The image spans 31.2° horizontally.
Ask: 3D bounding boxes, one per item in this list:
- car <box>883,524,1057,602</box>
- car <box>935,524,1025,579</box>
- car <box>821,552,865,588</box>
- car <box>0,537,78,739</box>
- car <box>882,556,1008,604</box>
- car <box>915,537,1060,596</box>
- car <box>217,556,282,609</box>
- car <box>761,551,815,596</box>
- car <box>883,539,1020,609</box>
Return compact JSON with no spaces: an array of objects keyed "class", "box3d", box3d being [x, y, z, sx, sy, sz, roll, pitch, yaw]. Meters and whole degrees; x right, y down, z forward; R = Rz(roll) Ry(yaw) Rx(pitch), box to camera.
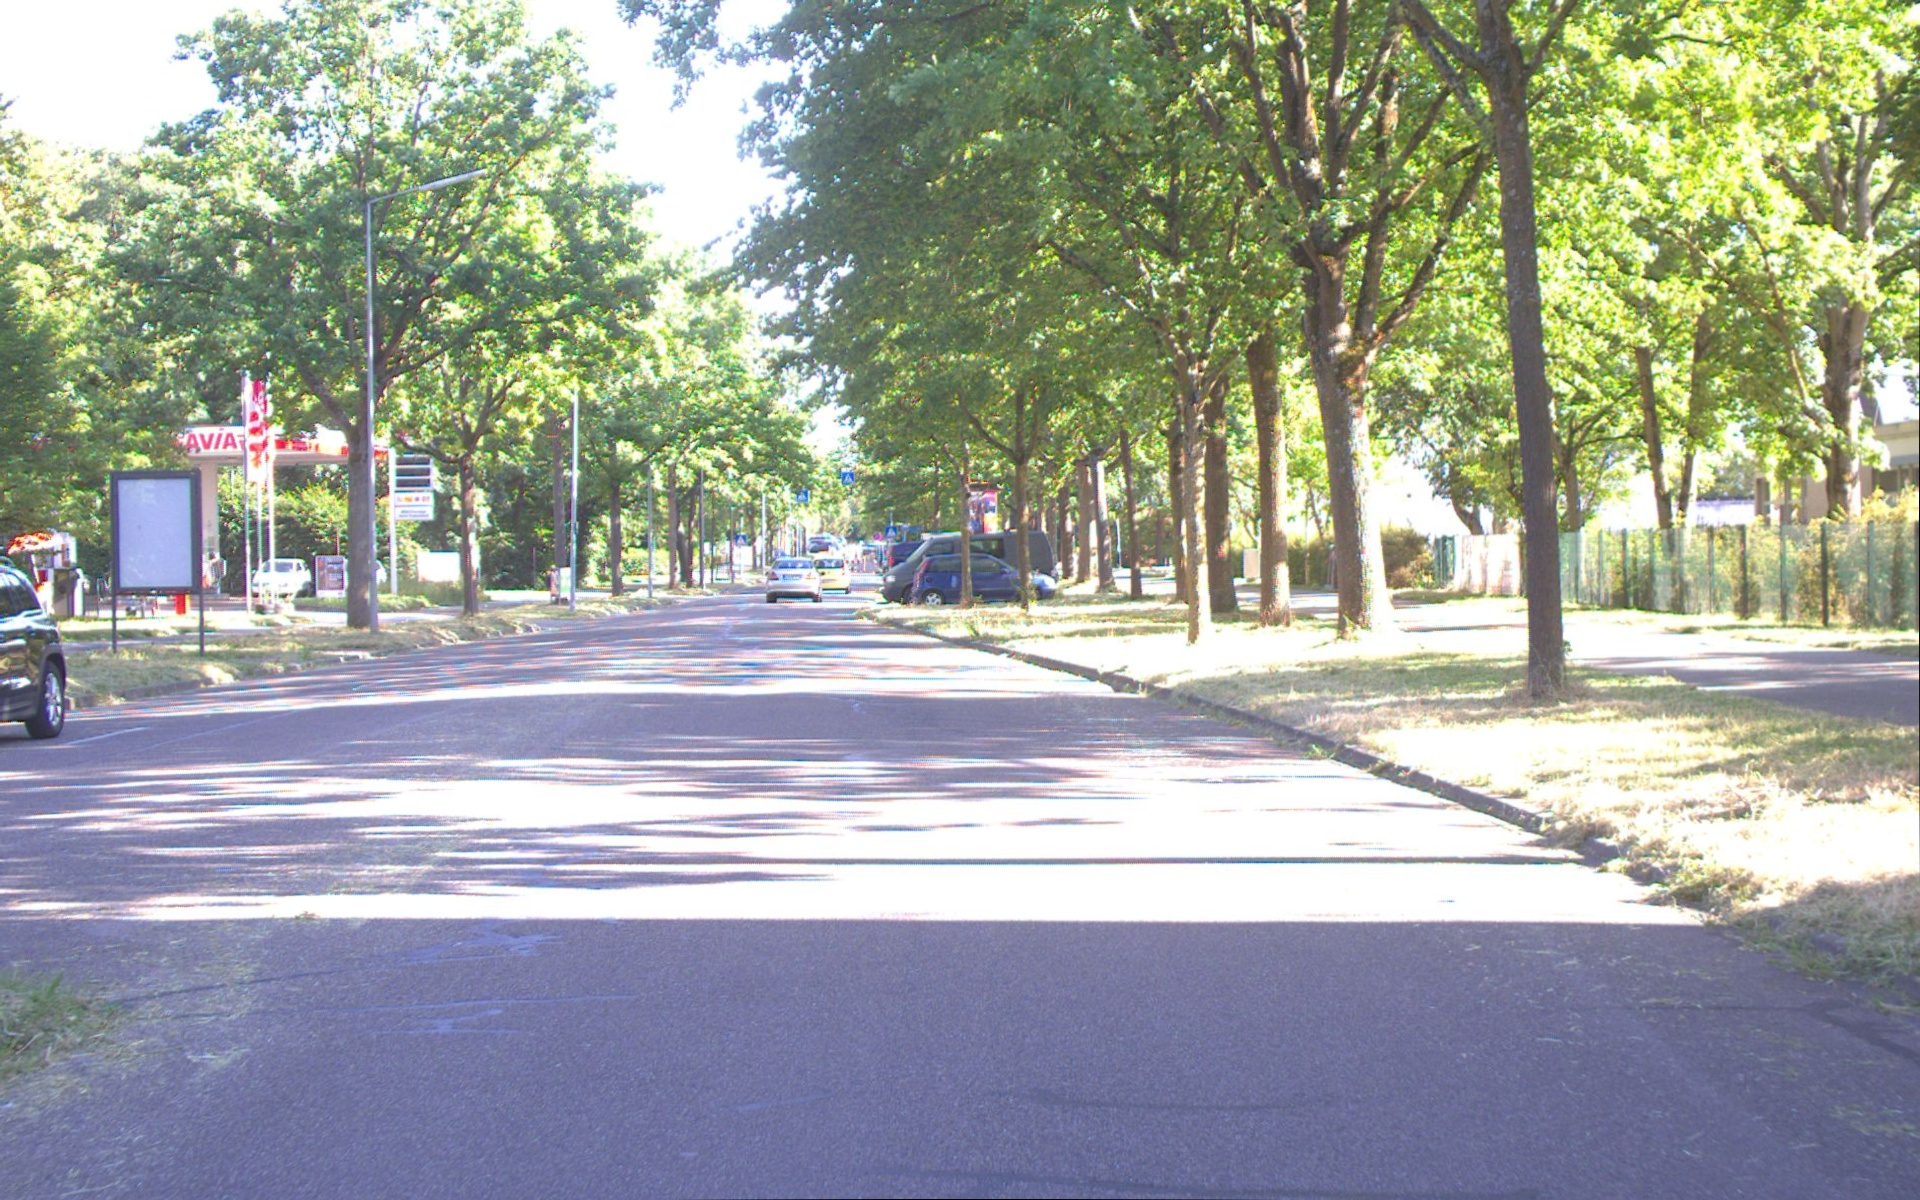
[{"class":"car","box3d":[0.247,-0.971,91.171,4.502,1.946,1.688,-1,-1,-2]},{"class":"car","box3d":[0.815,-1.968,140.041,3.567,2.044,1.633,-1,-2,-2]},{"class":"car","box3d":[-4.595,-1.173,135.243,1.661,1.332,3.665,-1,0,-3]},{"class":"car","box3d":[-9.048,0.350,29.185,1.839,1.702,4.505,-2,1,1]},{"class":"car","box3d":[-0.443,-0.584,101.651,3.653,1.325,1.317,-1,-1,-2]},{"class":"car","box3d":[0.691,-0.852,88.204,3.653,1.393,1.317,-1,-1,-2]},{"class":"car","box3d":[-25.962,-0.622,125.749,1.801,1.817,3.805,-1,0,-4]},{"class":"car","box3d":[-5.494,-0.831,110.255,1.661,1.332,3.665,-1,0,-3]},{"class":"car","box3d":[-0.248,-0.709,93.647,3.653,1.791,1.317,-1,-1,-2]}]
